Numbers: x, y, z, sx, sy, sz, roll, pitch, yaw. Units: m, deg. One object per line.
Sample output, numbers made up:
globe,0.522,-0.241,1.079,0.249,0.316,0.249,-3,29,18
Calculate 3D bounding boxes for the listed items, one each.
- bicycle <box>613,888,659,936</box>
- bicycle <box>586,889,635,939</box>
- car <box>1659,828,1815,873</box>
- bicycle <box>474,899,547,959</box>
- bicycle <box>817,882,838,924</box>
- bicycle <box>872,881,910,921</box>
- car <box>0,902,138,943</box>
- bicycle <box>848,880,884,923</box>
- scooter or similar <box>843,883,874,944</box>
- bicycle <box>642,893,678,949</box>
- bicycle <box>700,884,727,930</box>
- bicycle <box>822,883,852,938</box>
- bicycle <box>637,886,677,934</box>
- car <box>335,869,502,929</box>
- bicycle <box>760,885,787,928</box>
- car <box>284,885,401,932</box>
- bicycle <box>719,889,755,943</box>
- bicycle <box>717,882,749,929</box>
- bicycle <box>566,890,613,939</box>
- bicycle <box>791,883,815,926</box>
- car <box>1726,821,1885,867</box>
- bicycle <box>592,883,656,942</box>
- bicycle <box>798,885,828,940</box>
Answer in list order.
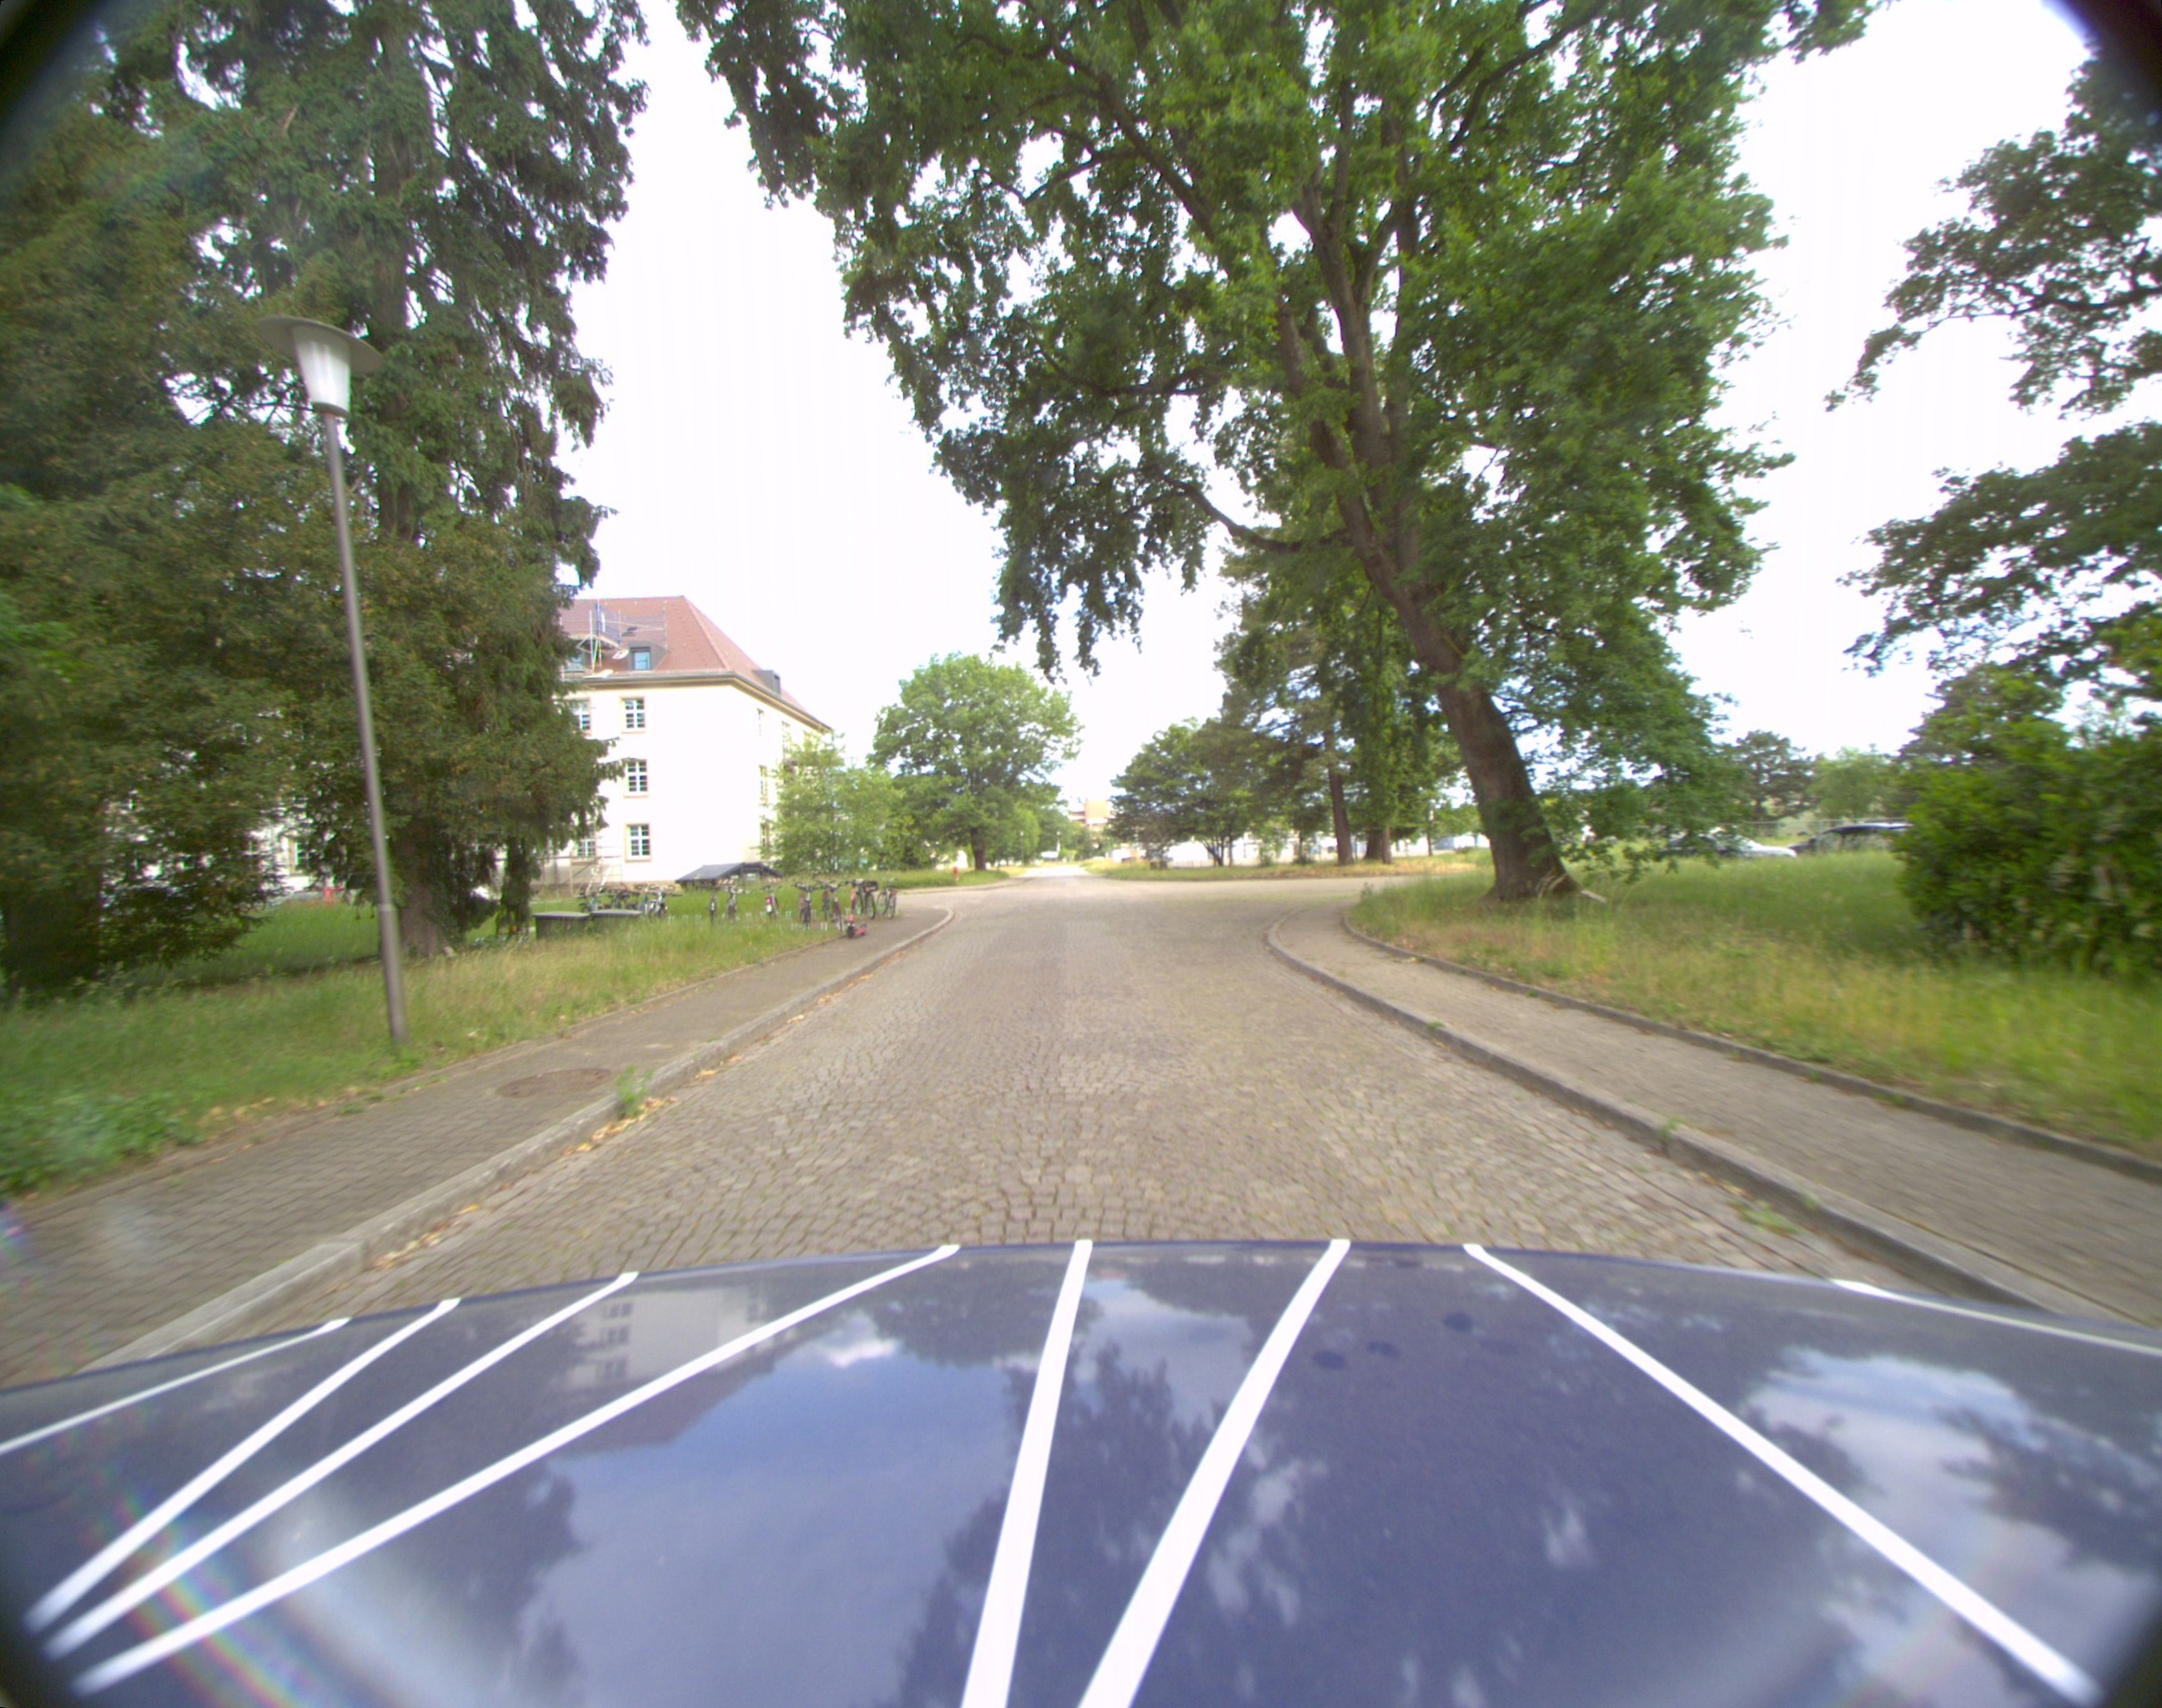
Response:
bicycle,-11.273,1.446,19.295,0.442,1.105,1.650,-3,0,-12
bicycle,-11.759,1.468,19.017,0.442,1.105,1.650,-3,0,-12
car,22.908,-0.082,26.778,1.762,1.396,4.356,-2,-1,2
bicycle,-11.483,1.480,15.349,0.552,1.036,1.681,-3,0,-15
bicycle,-6.888,1.309,20.677,0.478,1.002,1.665,-3,2,-17
bicycle,-5.316,1.295,21.209,0.478,1.002,1.618,-4,2,-32
car,-38.033,2.535,28.492,1.296,1.210,3.248,-3,0,-1
bicycle,-6.025,1.309,21.219,0.478,1.068,1.618,-4,2,-32
scooter or similar,-4.726,1.247,16.152,0.357,1.202,1.137,-3,0,-5
bicycle,-8.966,1.396,16.209,0.552,1.059,1.750,-3,0,-27
bicycle,-9.652,1.361,19.990,0.478,1.105,1.762,-3,0,-23
bicycle,-5.590,1.263,17.366,0.552,1.108,1.767,-3,0,-19
bicycle,-10.883,1.421,19.536,0.478,1.105,1.763,-3,0,-17
car,-25.853,1.669,29.972,1.967,1.985,5.275,-3,0,-1
bicycle,-8.267,1.378,20.452,0.478,1.002,1.665,-3,2,-17
car,-28.296,2.035,29.236,1.310,1.518,3.248,-3,0,-1
bicycle,-7.604,1.331,16.761,0.619,1.059,1.822,-3,0,-27
bicycle,-9.117,1.333,19.959,0.478,1.105,1.763,-3,0,-17
bicycle,-12.361,1.494,19.150,0.478,1.105,1.763,-3,0,-17
bicycle,-7.497,1.339,20.554,0.478,1.002,1.665,-3,2,-17
car,27.506,-0.327,29.095,1.763,1.552,4.365,-3,-1,-2
bicycle,-10.071,1.261,16.810,0.551,1.164,1.753,-3,0,-9
bicycle,-6.037,1.289,17.150,0.552,1.108,1.802,-3,0,-19
